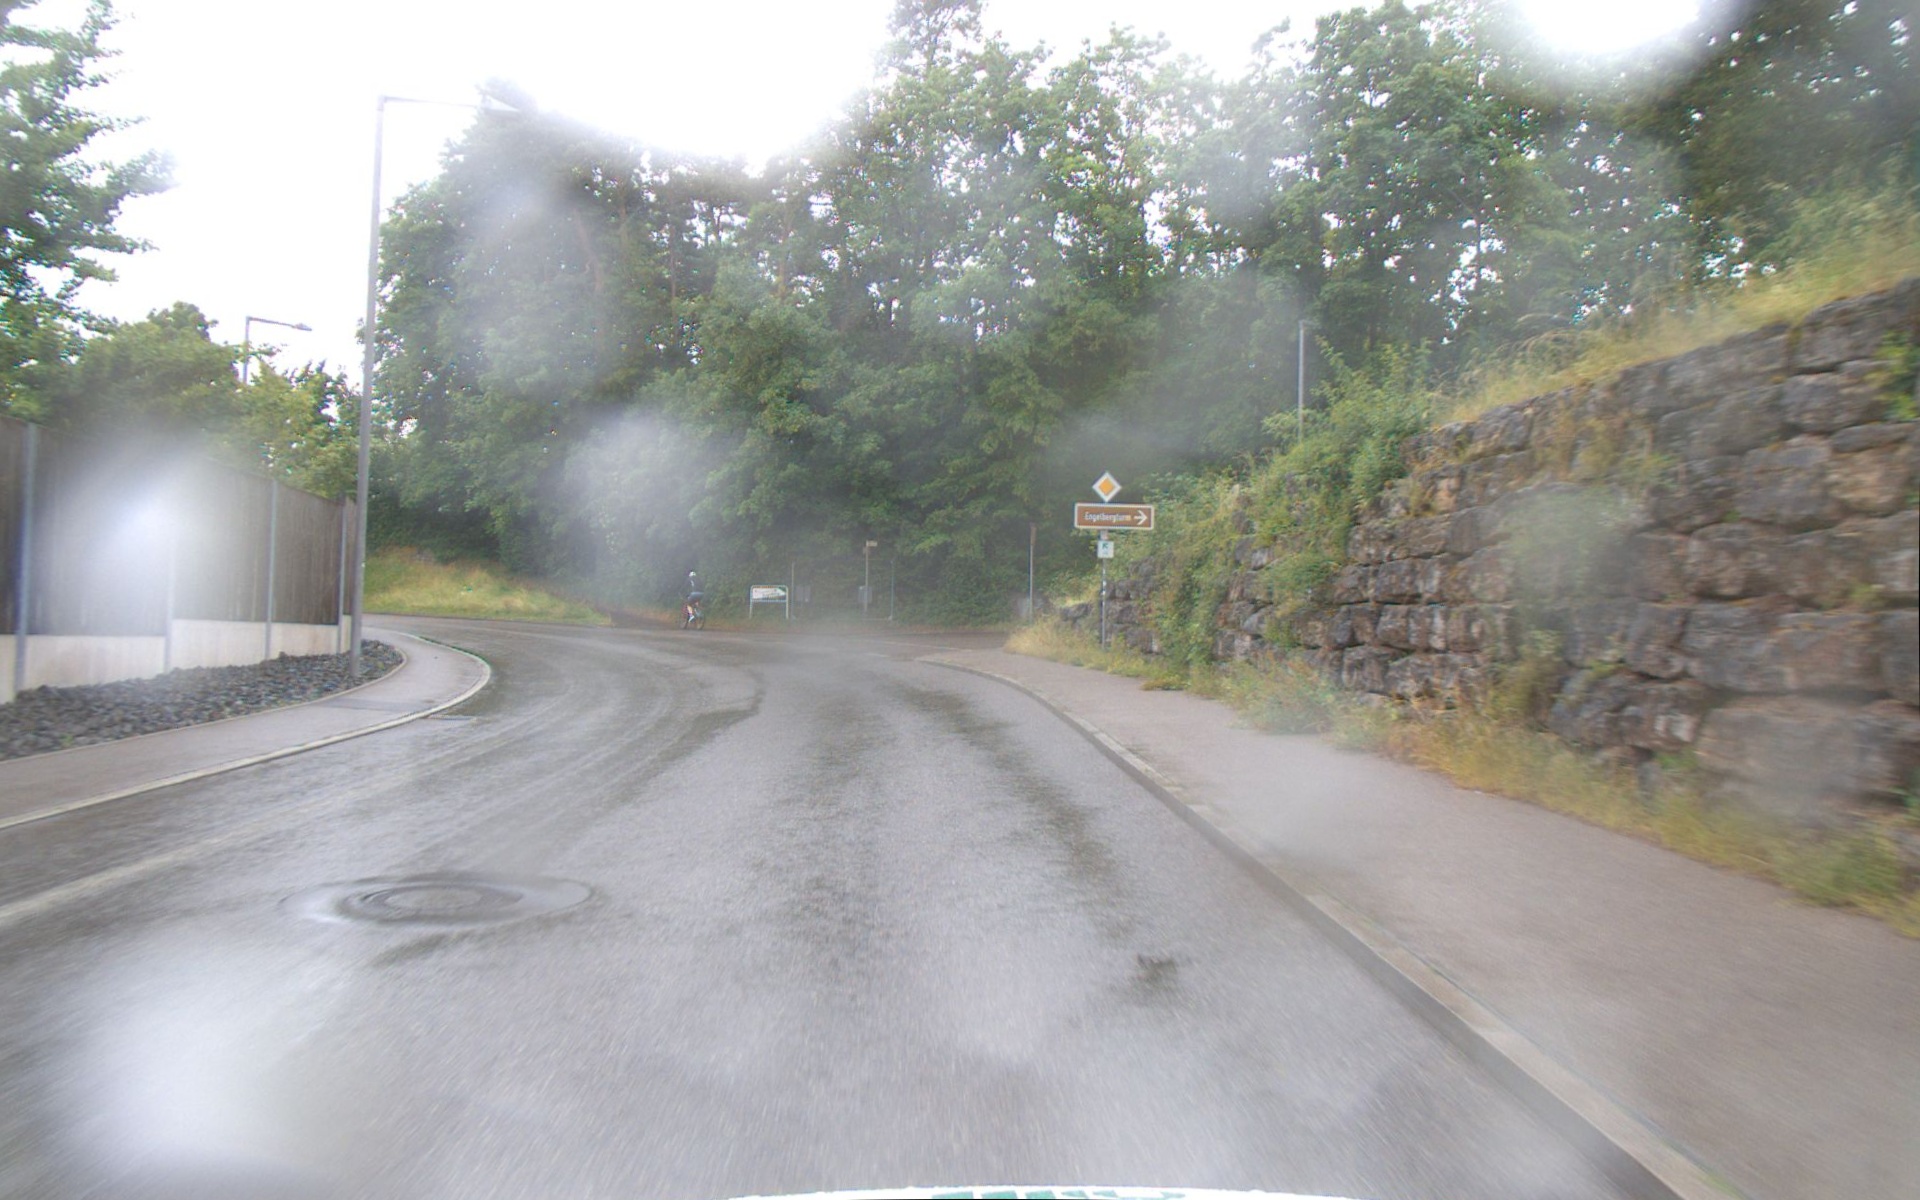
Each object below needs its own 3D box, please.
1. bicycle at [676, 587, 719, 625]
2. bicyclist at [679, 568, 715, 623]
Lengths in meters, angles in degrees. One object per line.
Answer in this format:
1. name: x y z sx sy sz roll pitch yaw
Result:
1. bicycle: -8.076 0.184 50.843 0.524 1.104 1.596 2 0 -42
2. bicyclist: -8.082 -0.139 50.819 0.715 1.643 0.893 2 0 -39
